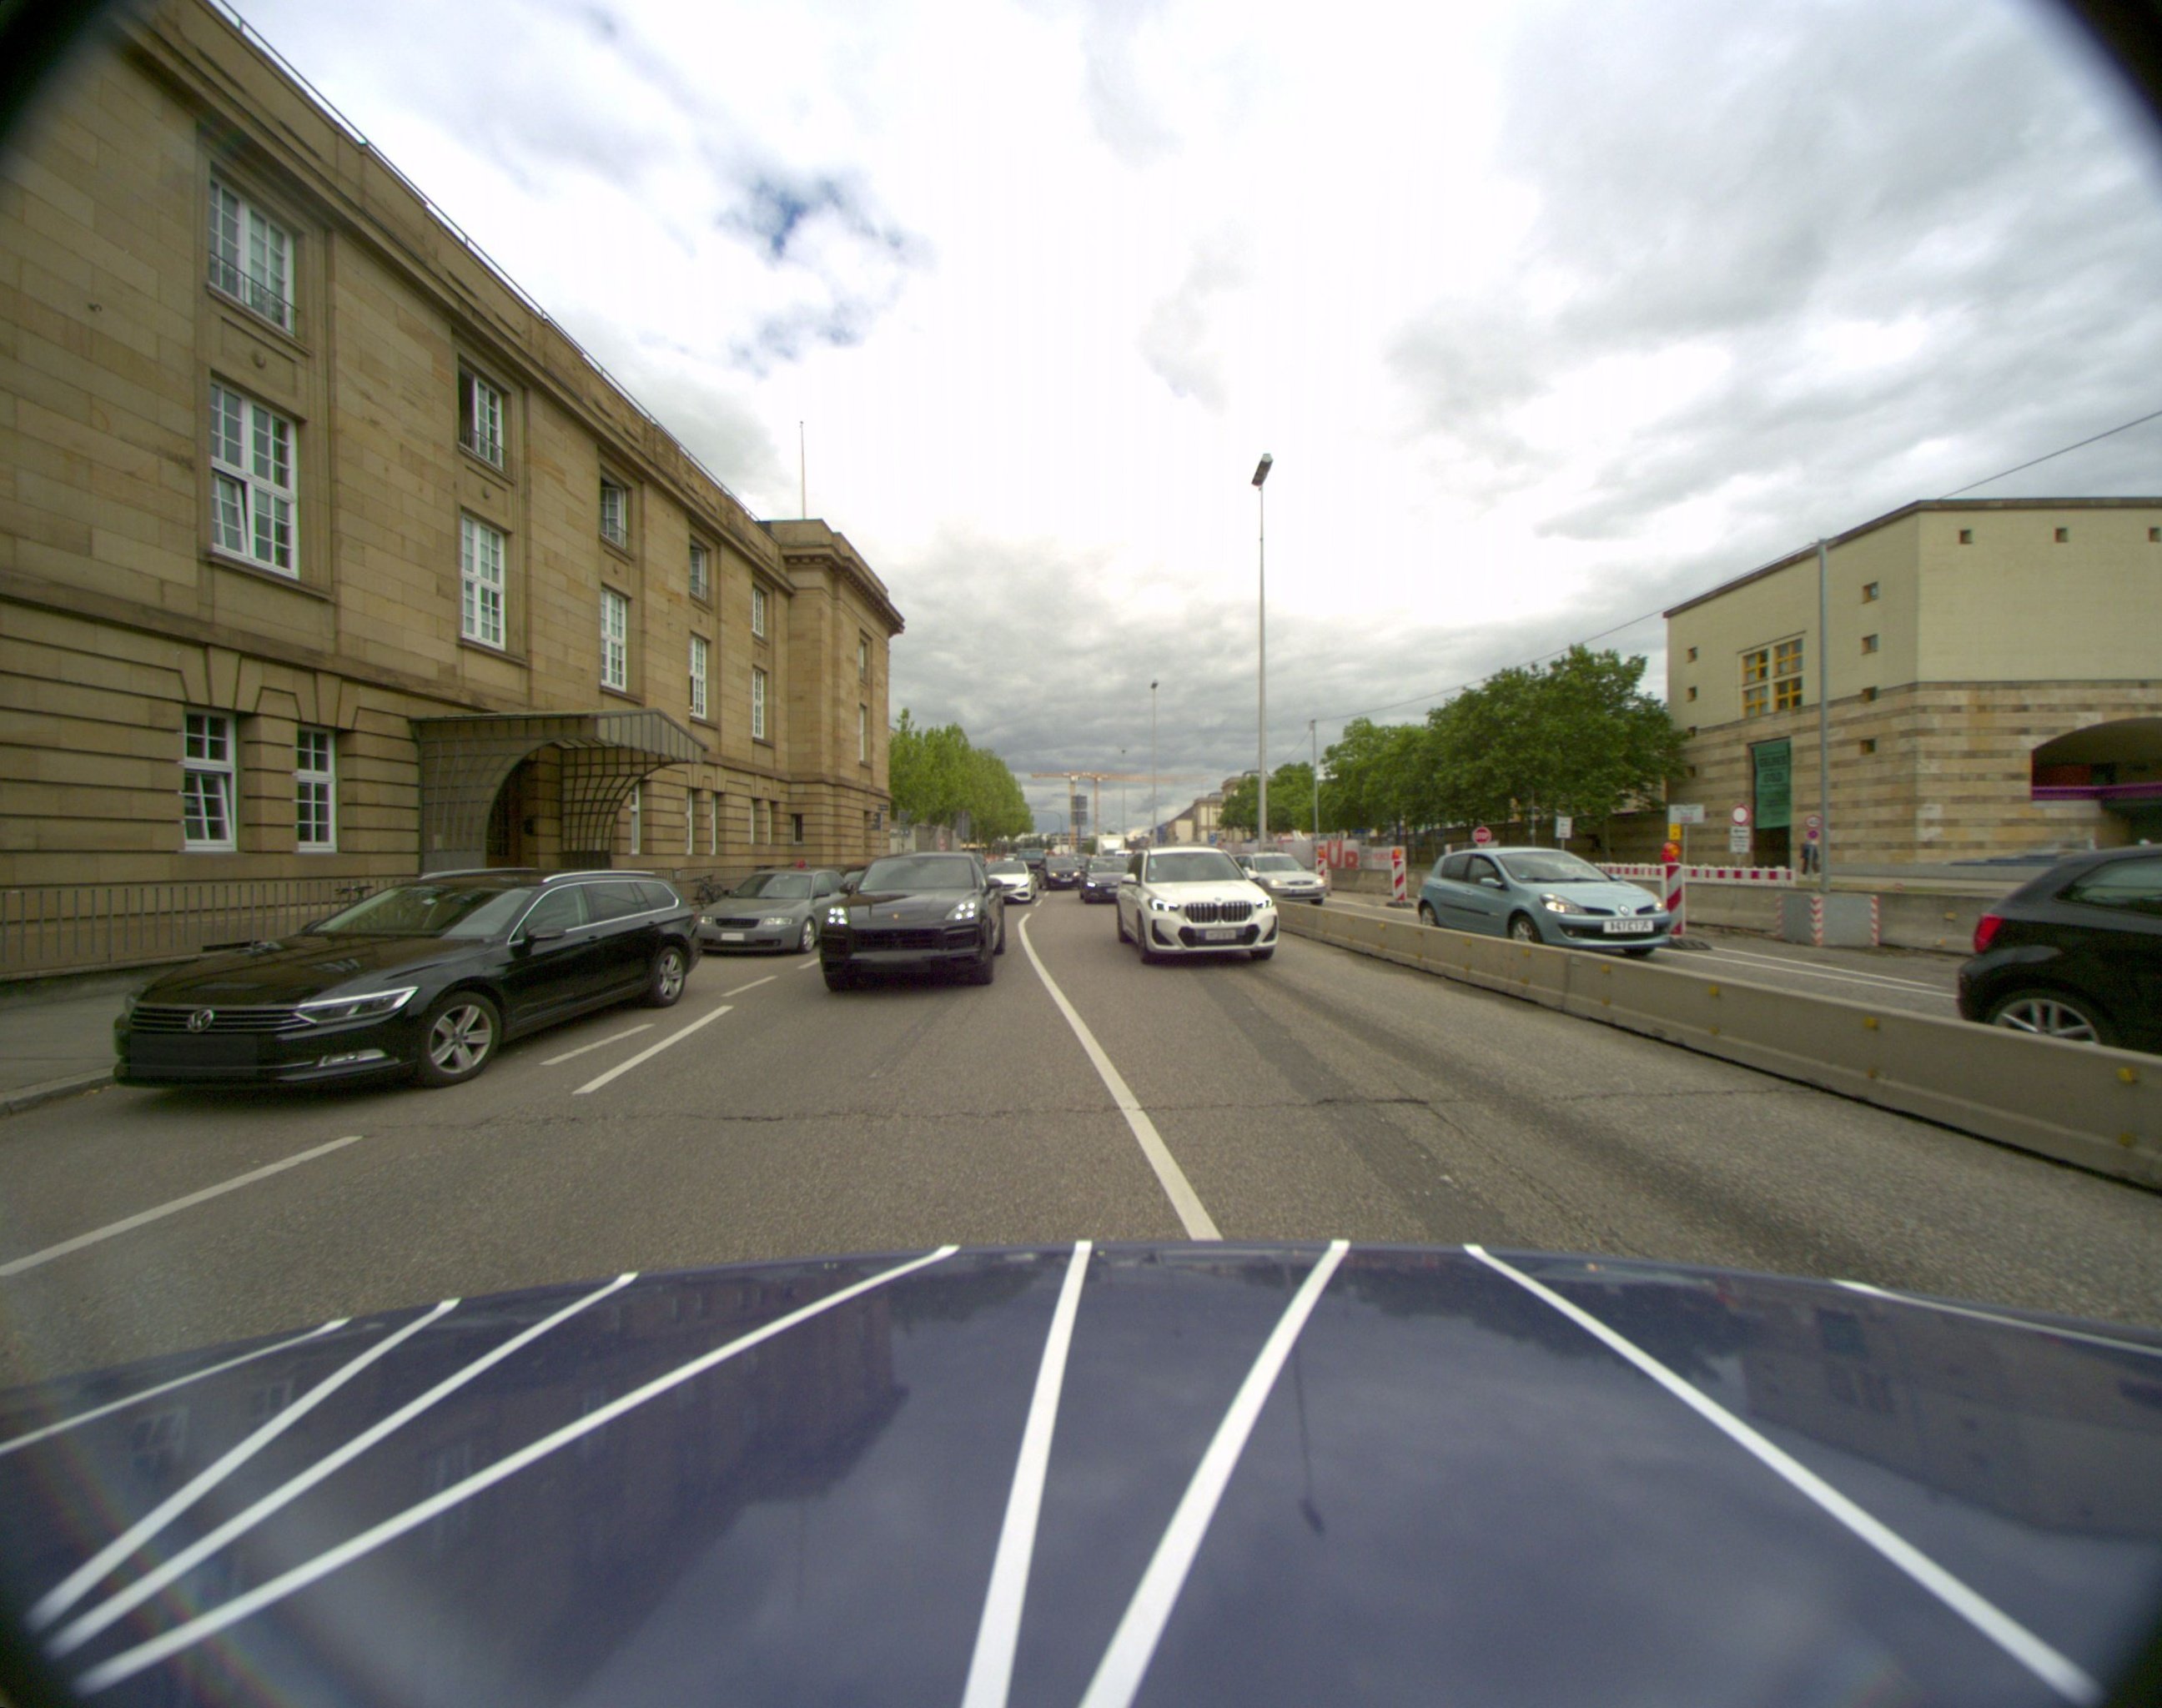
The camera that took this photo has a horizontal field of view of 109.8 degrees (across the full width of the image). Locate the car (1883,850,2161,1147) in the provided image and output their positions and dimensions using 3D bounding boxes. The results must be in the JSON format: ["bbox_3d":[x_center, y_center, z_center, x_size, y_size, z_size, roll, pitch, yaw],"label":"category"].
[{"bbox_3d":[6.285,0.733,3.019,1.664,1.446,4.196,-2,1,-3],"label":"car"}]

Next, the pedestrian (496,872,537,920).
[{"bbox_3d":[-10.649,0.790,14.344,0.430,0.868,0.373,-3,1,3],"label":"pedestrian"}]

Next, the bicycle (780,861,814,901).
[{"bbox_3d":[-9.556,0.895,25.655,0.413,1.281,1.790,-1,1,1],"label":"bicycle"}]

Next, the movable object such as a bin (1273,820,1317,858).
[{"bbox_3d":[12.771,-0.841,45.429,1.526,2.172,3.291,-1,0,-3],"label":"movable object such as a bin"}]

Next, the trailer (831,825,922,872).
[{"bbox_3d":[-19.769,-0.595,75.070,3.154,4.077,13.978,-3,1,8],"label":"trailer"}]

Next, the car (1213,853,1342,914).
[{"bbox_3d":[5.401,0.744,21.618,1.884,1.473,4.701,-2,1,-8],"label":"car"}]

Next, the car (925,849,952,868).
[{"bbox_3d":[-11.751,0.347,63.012,1.584,1.521,3.503,-2,1,-1],"label":"car"}]

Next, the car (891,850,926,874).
[{"bbox_3d":[-14.216,0.592,62.885,1.810,1.773,4.620,-4,1,-1],"label":"car"}]

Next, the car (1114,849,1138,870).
[{"bbox_3d":[3.975,0.460,67.466,1.842,1.751,4.479,0,0,-1],"label":"car"}]

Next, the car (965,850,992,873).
[{"bbox_3d":[-8.310,0.585,61.716,1.810,1.728,4.484,-2,0,-4],"label":"car"}]

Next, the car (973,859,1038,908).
[{"bbox_3d":[-2.483,0.943,25.758,1.935,1.368,3.998,-3,1,-3],"label":"car"}]

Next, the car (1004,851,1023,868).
[{"bbox_3d":[-8.512,0.650,95.976,1.999,2.002,3.999,-1,0,-1],"label":"car"}]

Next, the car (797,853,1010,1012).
[{"bbox_3d":[-2.089,0.836,10.204,1.908,1.648,4.200,-1,0,-1],"label":"car"}]

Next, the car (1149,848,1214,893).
[{"bbox_3d":[3.890,0.595,30.049,1.781,1.611,4.044,-2,1,-3],"label":"car"}]

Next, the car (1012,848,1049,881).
[{"bbox_3d":[-3.061,0.630,46.923,1.952,1.914,4.398,-1,0,0],"label":"car"}]

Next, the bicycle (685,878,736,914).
[{"bbox_3d":[-9.779,1.080,20.124,0.307,0.839,1.878,-1,0,3],"label":"bicycle"}]

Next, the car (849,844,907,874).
[{"bbox_3d":[-10.681,0.246,40.223,1.782,1.460,4.575,-2,0,0],"label":"car"}]

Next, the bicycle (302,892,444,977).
[{"bbox_3d":[-10.111,1.111,10.946,0.222,1.023,1.859,-2,0,1],"label":"bicycle"}]

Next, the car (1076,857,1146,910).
[{"bbox_3d":[0.853,0.866,24.001,1.803,1.429,4.018,-2,1,-3],"label":"car"}]

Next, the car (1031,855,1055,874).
[{"bbox_3d":[-3.660,1.015,74.023,1.998,1.849,4.000,0,0,1],"label":"car"}]

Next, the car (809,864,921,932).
[{"bbox_3d":[-5.240,1.010,18.932,1.619,1.447,3.858,0,1,1],"label":"car"}]

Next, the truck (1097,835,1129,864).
[{"bbox_3d":[3.167,-0.461,76.670,2.978,2.757,7.255,0,0,1],"label":"truck"}]

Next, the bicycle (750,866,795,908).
[{"bbox_3d":[-9.663,1.002,23.874,0.557,1.210,1.916,-1,1,1],"label":"bicycle"}]

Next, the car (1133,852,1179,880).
[{"bbox_3d":[3.770,0.587,38.851,1.731,1.288,3.933,-2,1,-3],"label":"car"}]

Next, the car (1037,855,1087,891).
[{"bbox_3d":[-0.894,0.801,33.816,1.613,1.465,3.618,-1,0,-11],"label":"car"}]

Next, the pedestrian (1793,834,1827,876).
[{"bbox_3d":[35.758,0.028,37.272,0.847,2.002,0.815,-3,1,2],"label":"pedestrian"}]

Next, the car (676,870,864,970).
[{"bbox_3d":[-5.349,1.049,13.670,1.713,1.418,3.996,0,1,0],"label":"car"}]

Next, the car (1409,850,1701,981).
[{"bbox_3d":[6.484,0.718,10.974,1.677,1.498,3.853,-2,1,-2],"label":"car"}]

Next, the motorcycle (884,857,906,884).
[{"bbox_3d":[-8.797,0.753,35.997,0.456,1.235,1.923,0,1,5],"label":"motorcycle"}]

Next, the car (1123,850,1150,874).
[{"bbox_3d":[3.874,0.546,53.422,1.634,1.546,3.001,-2,1,-1],"label":"car"}]

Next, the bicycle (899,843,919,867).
[{"bbox_3d":[-8.941,0.056,39.593,0.610,1.217,1.962,2,0,-2],"label":"bicycle"}]

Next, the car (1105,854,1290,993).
[{"bbox_3d":[1.552,0.865,11.965,1.856,1.619,4.904,-2,1,-3],"label":"car"}]

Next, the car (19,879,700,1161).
[{"bbox_3d":[-5.250,1.034,6.564,1.793,1.477,4.325,0,0,-1],"label":"car"}]

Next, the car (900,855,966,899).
[{"bbox_3d":[-5.404,0.802,28.211,1.549,1.543,3.709,0,0,3],"label":"car"}]
